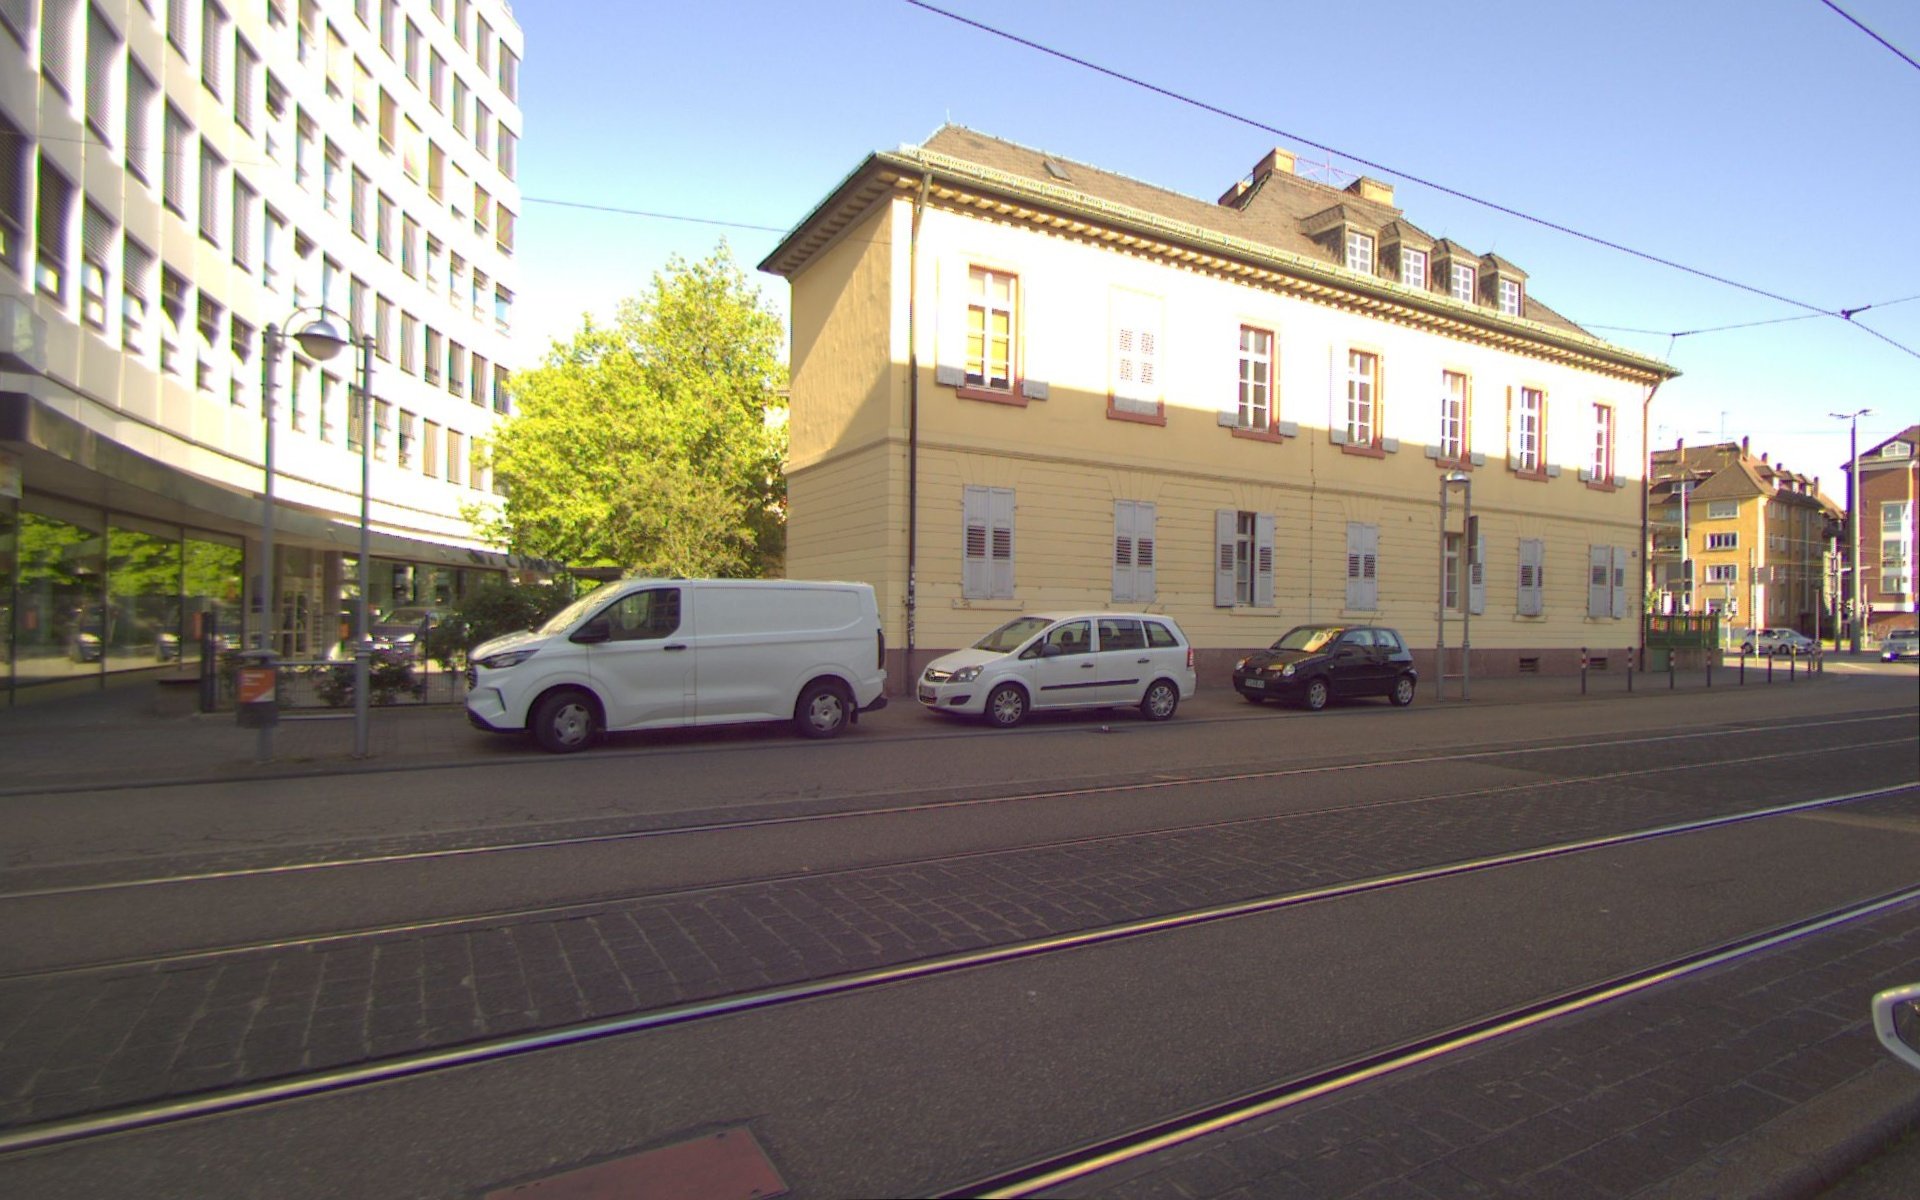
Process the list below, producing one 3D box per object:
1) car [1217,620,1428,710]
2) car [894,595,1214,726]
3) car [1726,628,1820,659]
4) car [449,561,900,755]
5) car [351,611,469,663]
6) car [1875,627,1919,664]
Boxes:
[{"bbox_3d":[6.603,1.149,18.250,3.677,1.419,1.606,2,1,-31],"label":"car"},{"bbox_3d":[1.479,0.878,15.333,4.590,1.708,1.800,2,1,-28],"label":"car"},{"bbox_3d":[50.246,2.650,62.221,1.781,1.577,4.604,2,1,-5],"label":"car"},{"bbox_3d":[-3.458,0.643,12.485,5.038,2.001,1.983,2,1,-31],"label":"car"},{"bbox_3d":[-16.991,1.128,31.251,1.791,1.439,3.996,2,-1,-7],"label":"car"},{"bbox_3d":[41.028,1.971,43.353,4.894,1.515,1.863,2,-2,-43],"label":"car"}]
